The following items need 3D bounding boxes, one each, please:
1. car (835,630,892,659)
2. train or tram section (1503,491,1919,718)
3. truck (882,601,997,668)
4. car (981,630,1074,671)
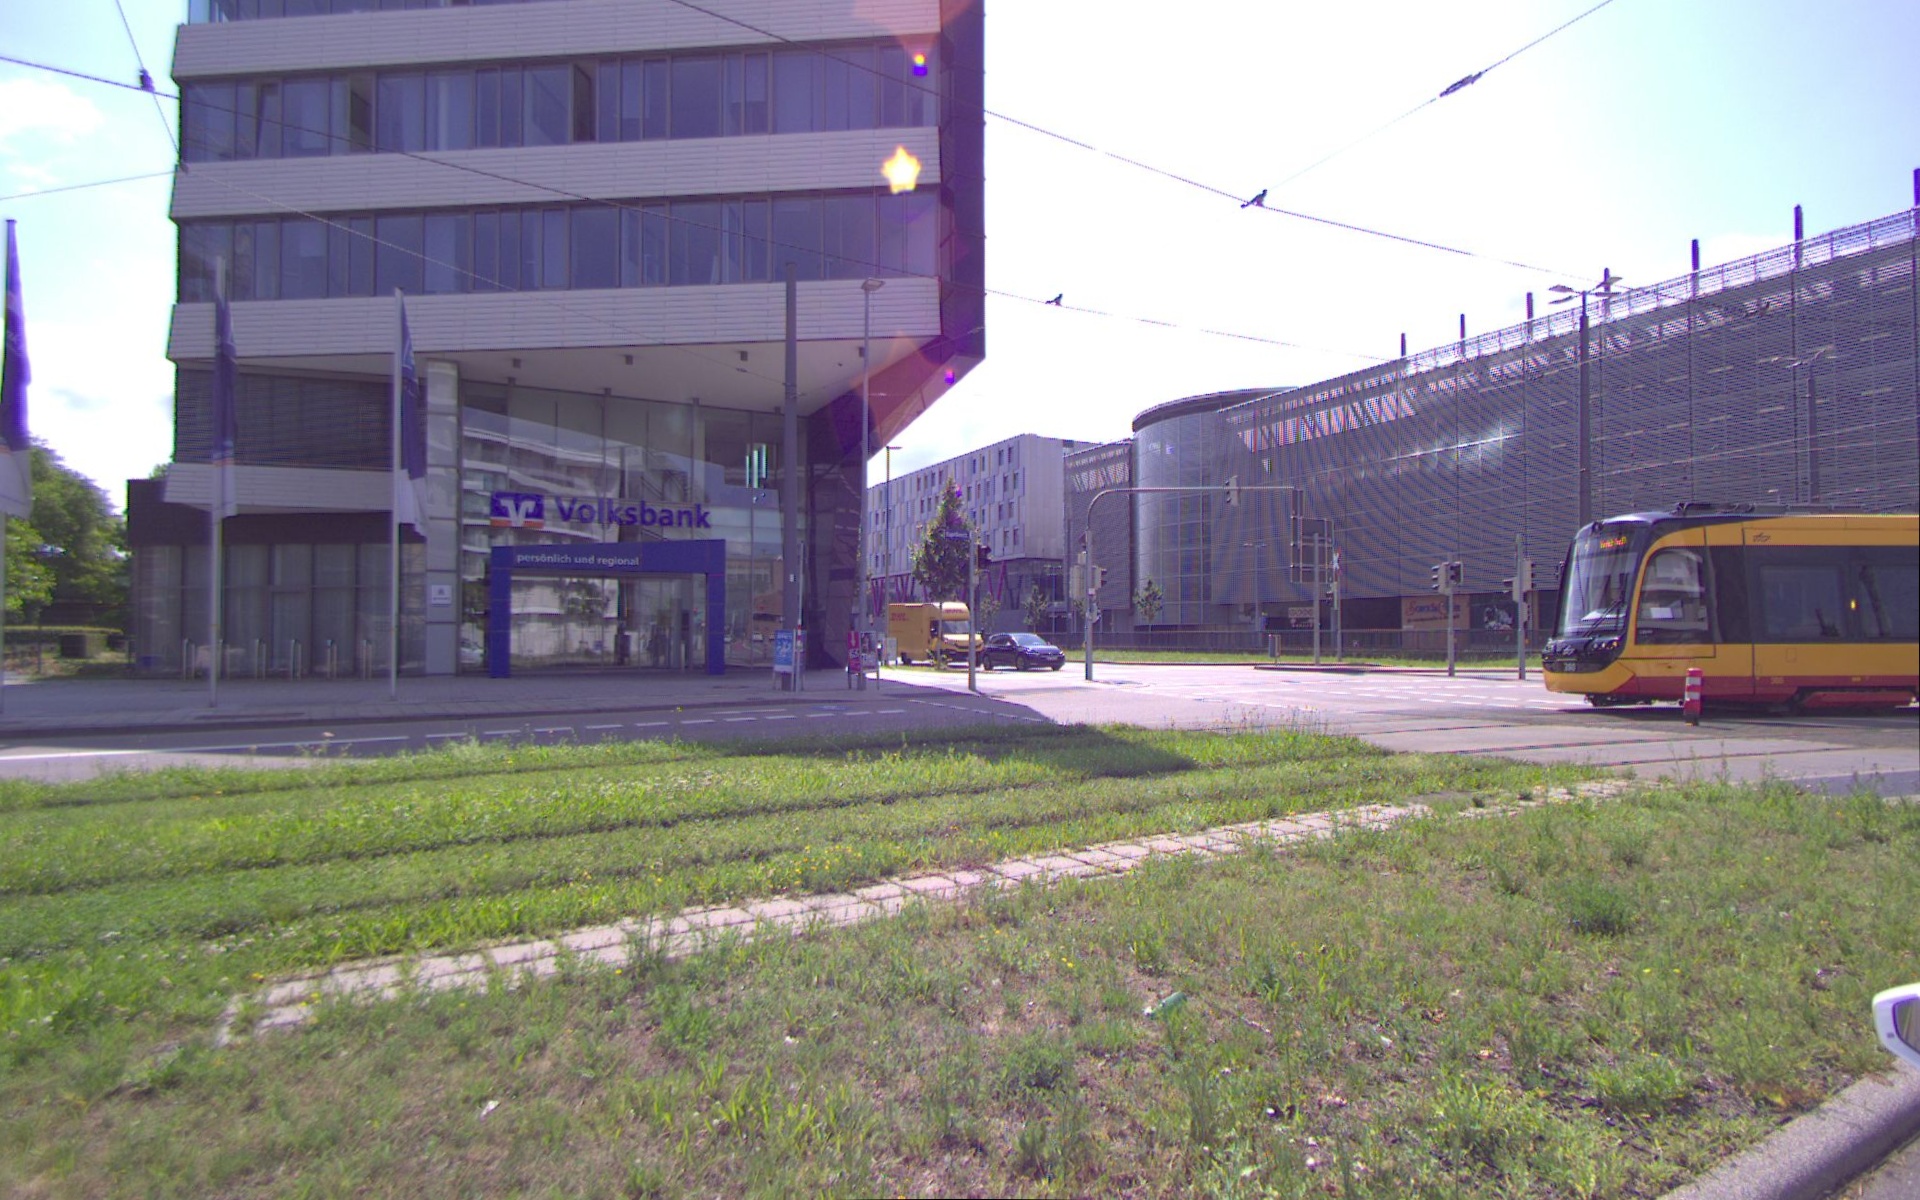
[{"bbox_3d":[-5.262,2.388,54.182,1.804,1.488,3.760,1,-2,-27],"label":"car"},{"bbox_3d":[17.144,0.125,18.086,13.239,3.647,3.225,0,-1,-3],"label":"train or tram section"},{"bbox_3d":[-1.064,1.566,45.991,2.416,2.866,6.819,1,-2,-29],"label":"truck"},{"bbox_3d":[2.556,1.927,39.113,1.804,1.488,4.083,1,-2,-27],"label":"car"}]
